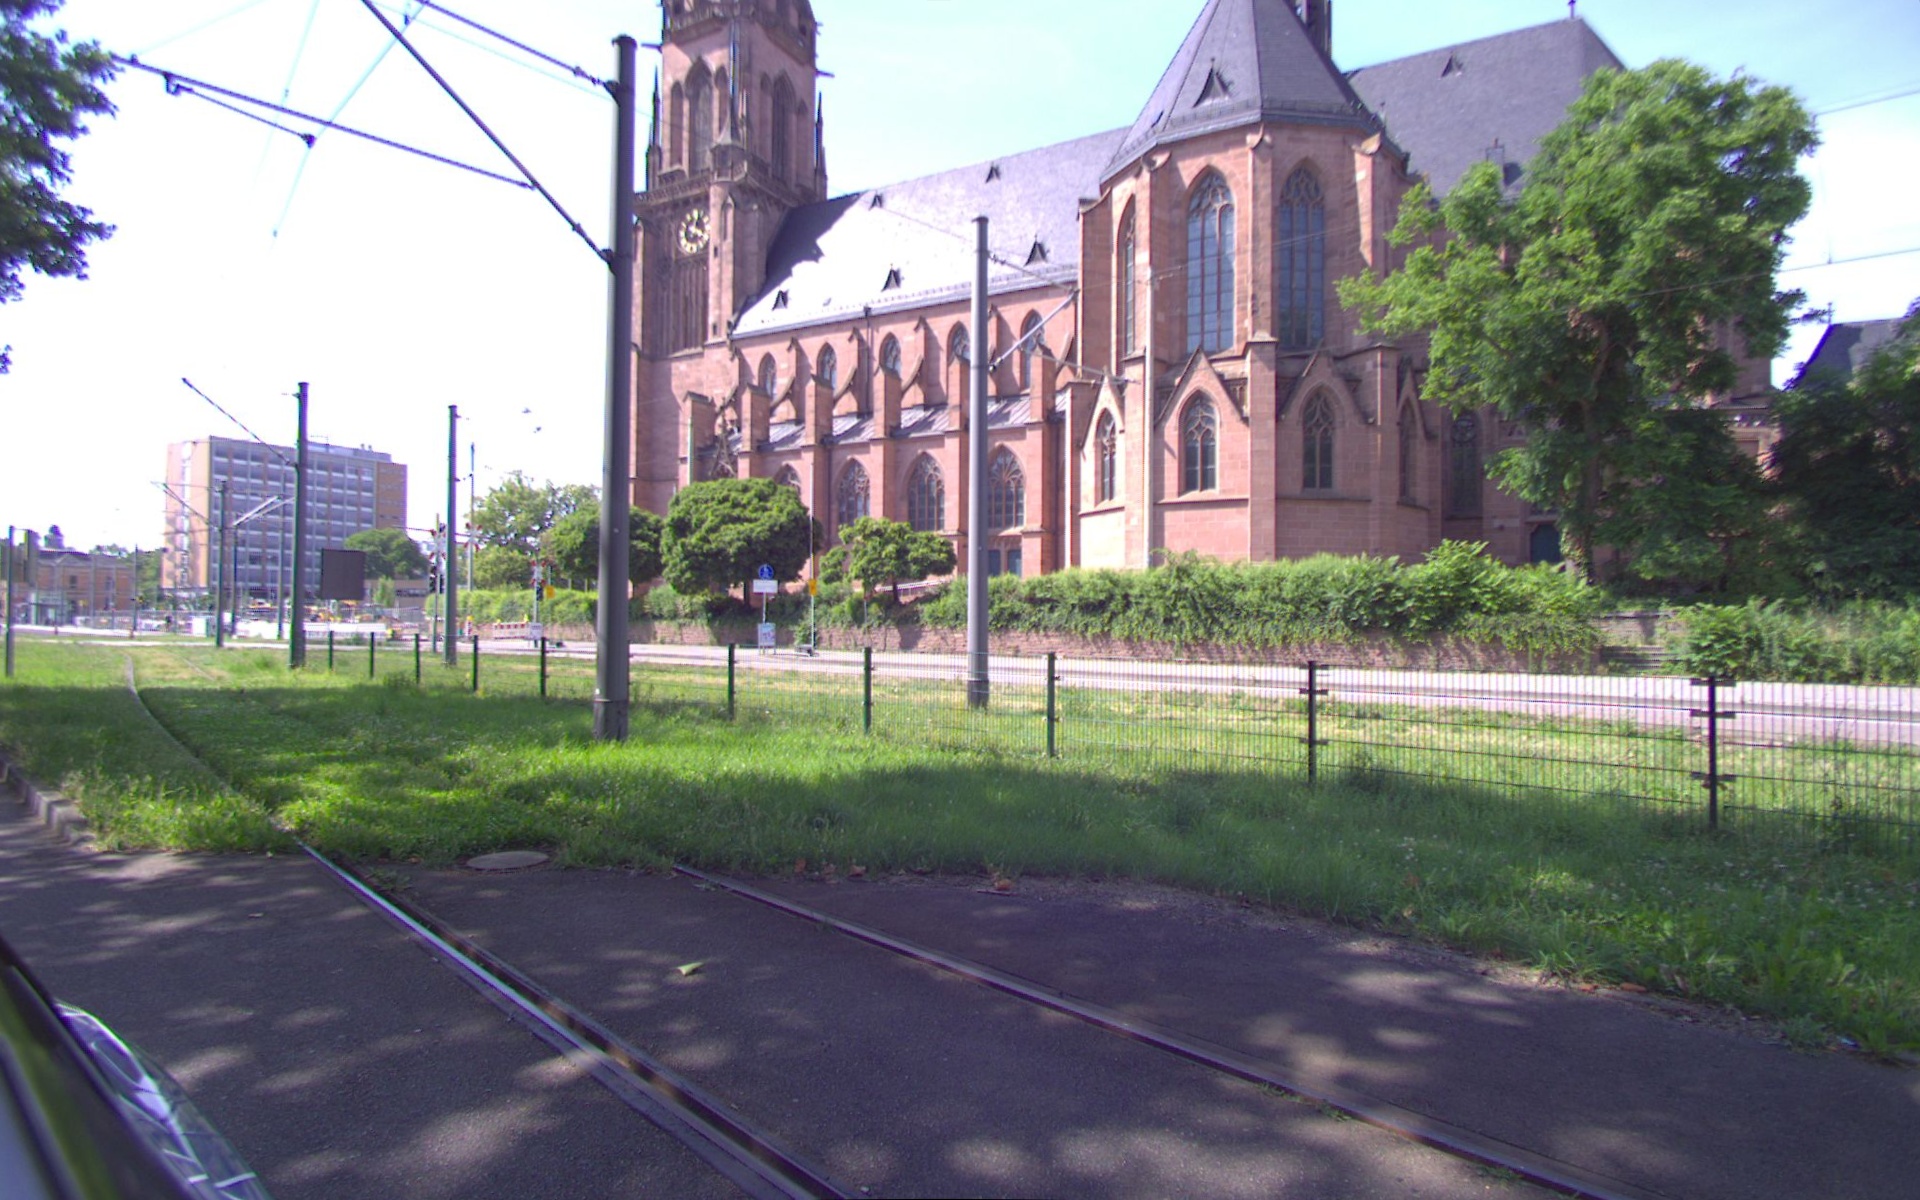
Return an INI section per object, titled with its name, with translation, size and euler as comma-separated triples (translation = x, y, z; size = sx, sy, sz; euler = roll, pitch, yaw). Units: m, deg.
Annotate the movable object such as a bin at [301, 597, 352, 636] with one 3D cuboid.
[movable object such as a bin]
translation = -64.831, 1.738, 103.672
size = 2.904, 3.911, 3.327
euler = 0, -2, 8
